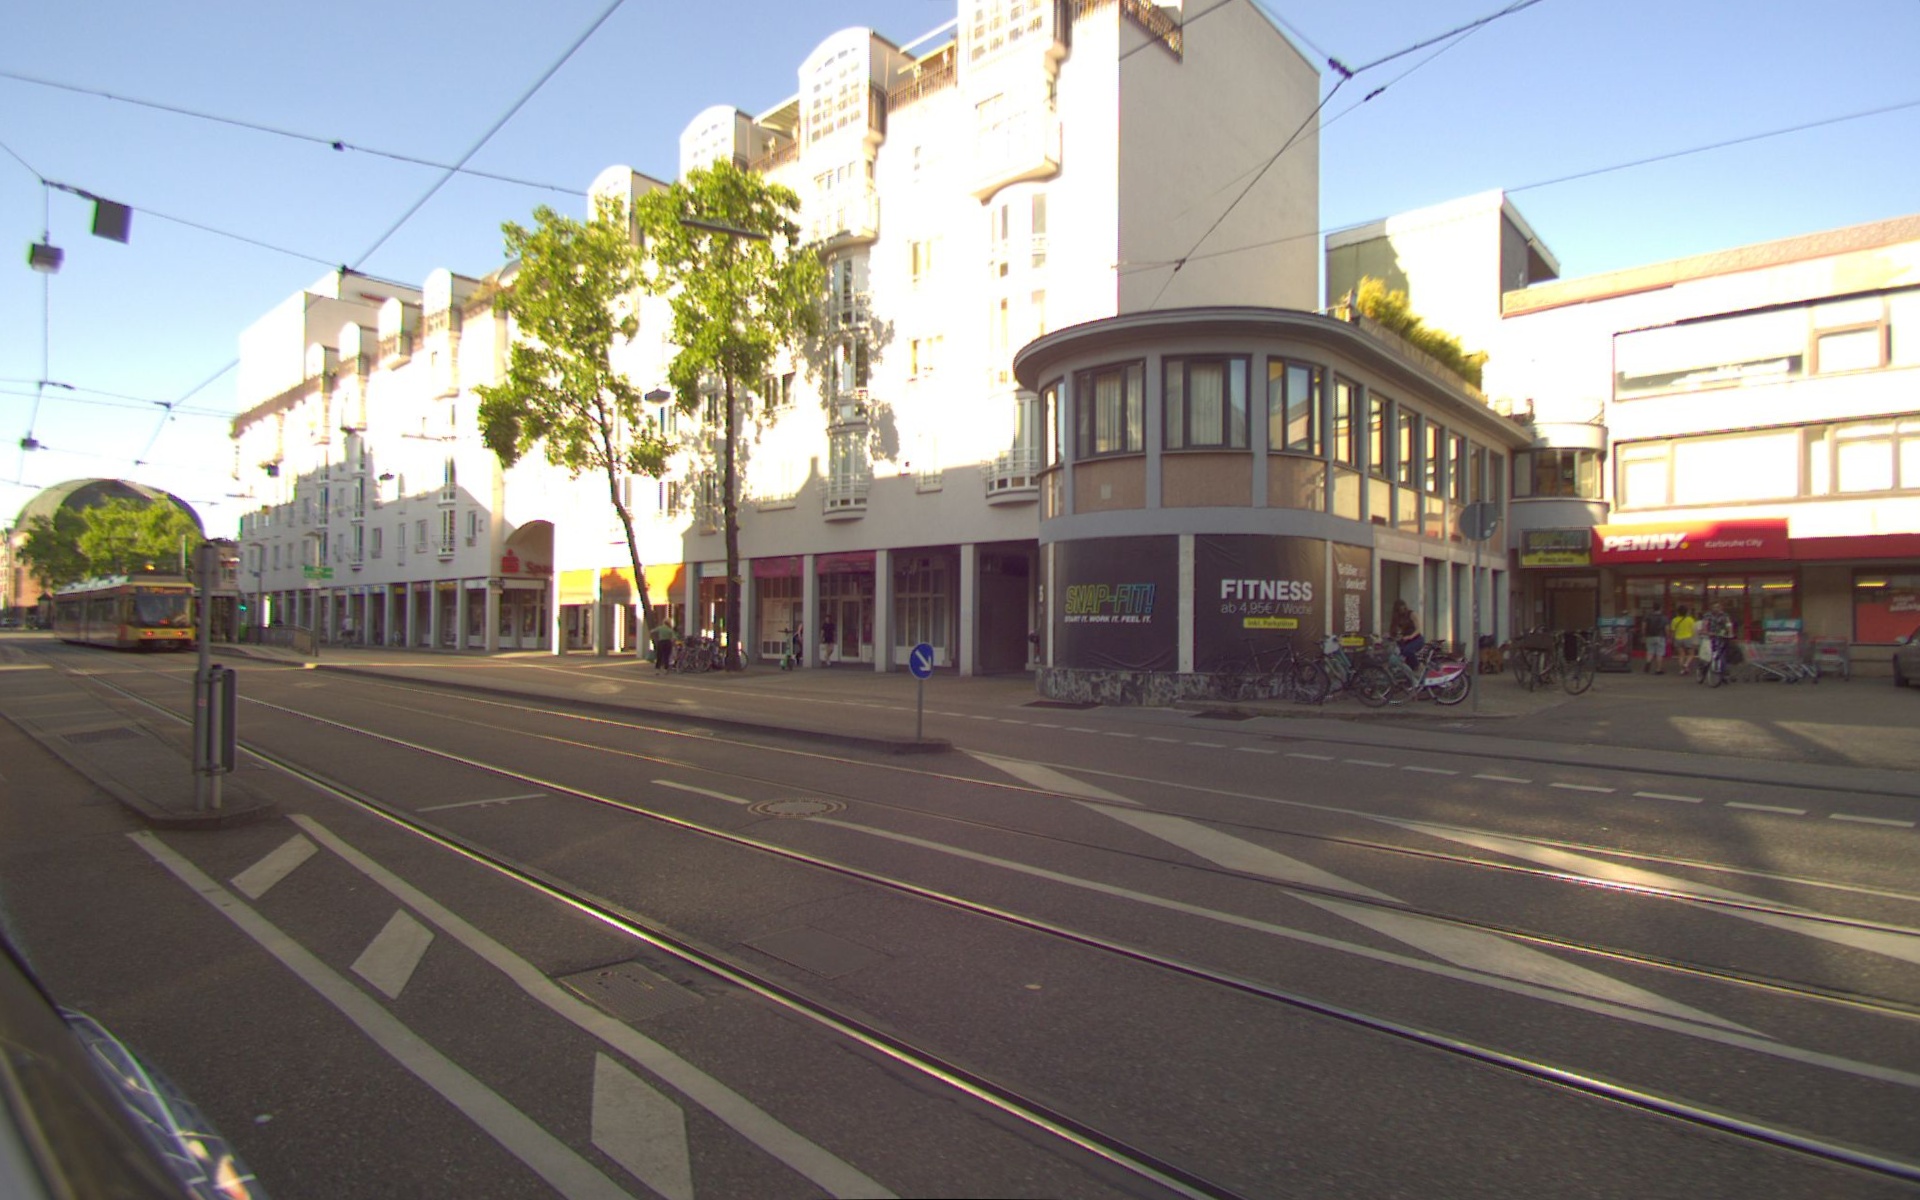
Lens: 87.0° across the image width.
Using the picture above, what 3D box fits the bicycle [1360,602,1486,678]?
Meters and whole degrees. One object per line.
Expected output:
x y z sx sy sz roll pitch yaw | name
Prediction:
7.630 0.655 16.725 1.830 1.196 0.443 -1 -3 40 | bicycle

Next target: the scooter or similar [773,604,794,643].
-5.180 0.690 29.672 0.330 1.120 1.184 1 -1 -24 | scooter or similar

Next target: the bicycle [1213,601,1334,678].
5.039 0.632 16.333 1.828 1.196 0.441 -1 -3 37 | bicycle

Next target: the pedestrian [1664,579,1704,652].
17.241 0.377 24.098 0.683 1.710 0.670 -2 -3 42 | pedestrian

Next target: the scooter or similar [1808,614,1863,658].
20.053 0.806 23.206 0.915 0.968 1.347 -1 -1 40 | scooter or similar

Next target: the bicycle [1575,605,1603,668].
12.506 0.729 20.104 0.349 1.196 1.809 -1 -2 35 | bicycle

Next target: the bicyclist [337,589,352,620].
-34.290 0.239 56.379 0.807 1.713 0.508 -1 -1 43 | bicyclist

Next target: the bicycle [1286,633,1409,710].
6.298 1.137 16.517 1.830 1.196 0.443 -1 -3 40 | bicycle

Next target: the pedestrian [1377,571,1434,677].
7.393 0.403 16.783 0.683 1.710 0.674 -2 -3 41 | pedestrian

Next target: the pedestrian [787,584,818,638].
-5.098 0.351 32.775 0.825 1.729 0.623 -1 -2 44 | pedestrian

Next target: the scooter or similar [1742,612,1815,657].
18.259 0.750 22.584 1.246 0.968 0.903 -1 -1 41 | scooter or similar

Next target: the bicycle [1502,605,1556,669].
11.209 0.729 19.971 0.452 1.196 1.822 0 -2 15 | bicycle

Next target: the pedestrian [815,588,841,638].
-4.295 0.416 32.819 0.632 1.588 0.553 -1 -2 44 | pedestrian

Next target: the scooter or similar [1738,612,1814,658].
17.639 0.738 21.869 1.246 0.968 0.903 -1 -1 41 | scooter or similar

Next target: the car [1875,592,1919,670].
19.594 0.604 19.556 1.872 1.487 4.556 -1 -2 30 | car

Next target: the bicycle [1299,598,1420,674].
6.631 0.595 16.864 1.830 1.196 0.438 -1 -3 40 | bicycle

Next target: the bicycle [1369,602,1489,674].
8.096 0.658 17.532 1.830 1.196 0.443 -1 -3 40 | bicycle

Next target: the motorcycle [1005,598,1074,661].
1.737 0.616 21.936 0.561 1.288 1.737 -2 0 40 | motorcycle

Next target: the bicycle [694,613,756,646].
-6.858 0.858 29.582 1.823 0.919 0.390 0 0 -42 | bicycle

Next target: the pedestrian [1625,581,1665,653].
16.606 0.420 24.543 0.703 1.710 0.617 -2 -3 42 | pedestrian

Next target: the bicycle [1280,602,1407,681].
6.066 0.657 16.071 1.828 1.196 0.436 -1 -3 37 | bicycle

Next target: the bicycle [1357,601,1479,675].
7.766 0.643 17.209 1.830 1.196 0.443 -1 -3 40 | bicycle

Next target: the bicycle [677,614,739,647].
-7.520 0.900 30.299 1.823 0.919 0.390 0 -1 -42 | bicycle

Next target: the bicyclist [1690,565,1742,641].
15.902 0.079 21.301 0.687 1.561 0.830 -1 -2 26 | bicyclist

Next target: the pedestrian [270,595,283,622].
-44.015 0.563 65.122 0.706 1.729 0.526 -1 -2 44 | pedestrian

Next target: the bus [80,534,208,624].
-37.877 -0.752 46.705 13.681 3.595 2.780 -1 -2 44 | bus

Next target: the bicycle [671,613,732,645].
-7.801 0.875 30.625 1.823 0.919 0.390 0 0 -42 | bicycle

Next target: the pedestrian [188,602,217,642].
-35.447 1.049 47.376 0.978 1.847 0.905 -1 -2 44 | pedestrian

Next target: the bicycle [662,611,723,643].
-8.146 0.815 30.907 1.823 0.919 0.390 0 0 -42 | bicycle

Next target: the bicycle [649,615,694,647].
-8.439 0.888 29.589 1.851 0.919 0.384 -1 0 44 | bicycle

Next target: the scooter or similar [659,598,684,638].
-9.552 0.605 33.452 0.372 1.288 1.182 -2 0 -36 | scooter or similar

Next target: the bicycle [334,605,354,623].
-34.288 0.767 56.361 1.727 0.996 0.511 -1 0 44 | bicycle

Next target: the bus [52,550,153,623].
-47.690 -0.575 56.071 13.681 3.595 2.780 -1 -2 44 | bus

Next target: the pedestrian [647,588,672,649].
-8.722 0.540 29.359 0.621 1.729 0.827 1 -2 -20 | pedestrian

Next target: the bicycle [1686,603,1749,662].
15.886 0.677 21.260 0.679 1.180 1.815 -1 -2 25 | bicycle
